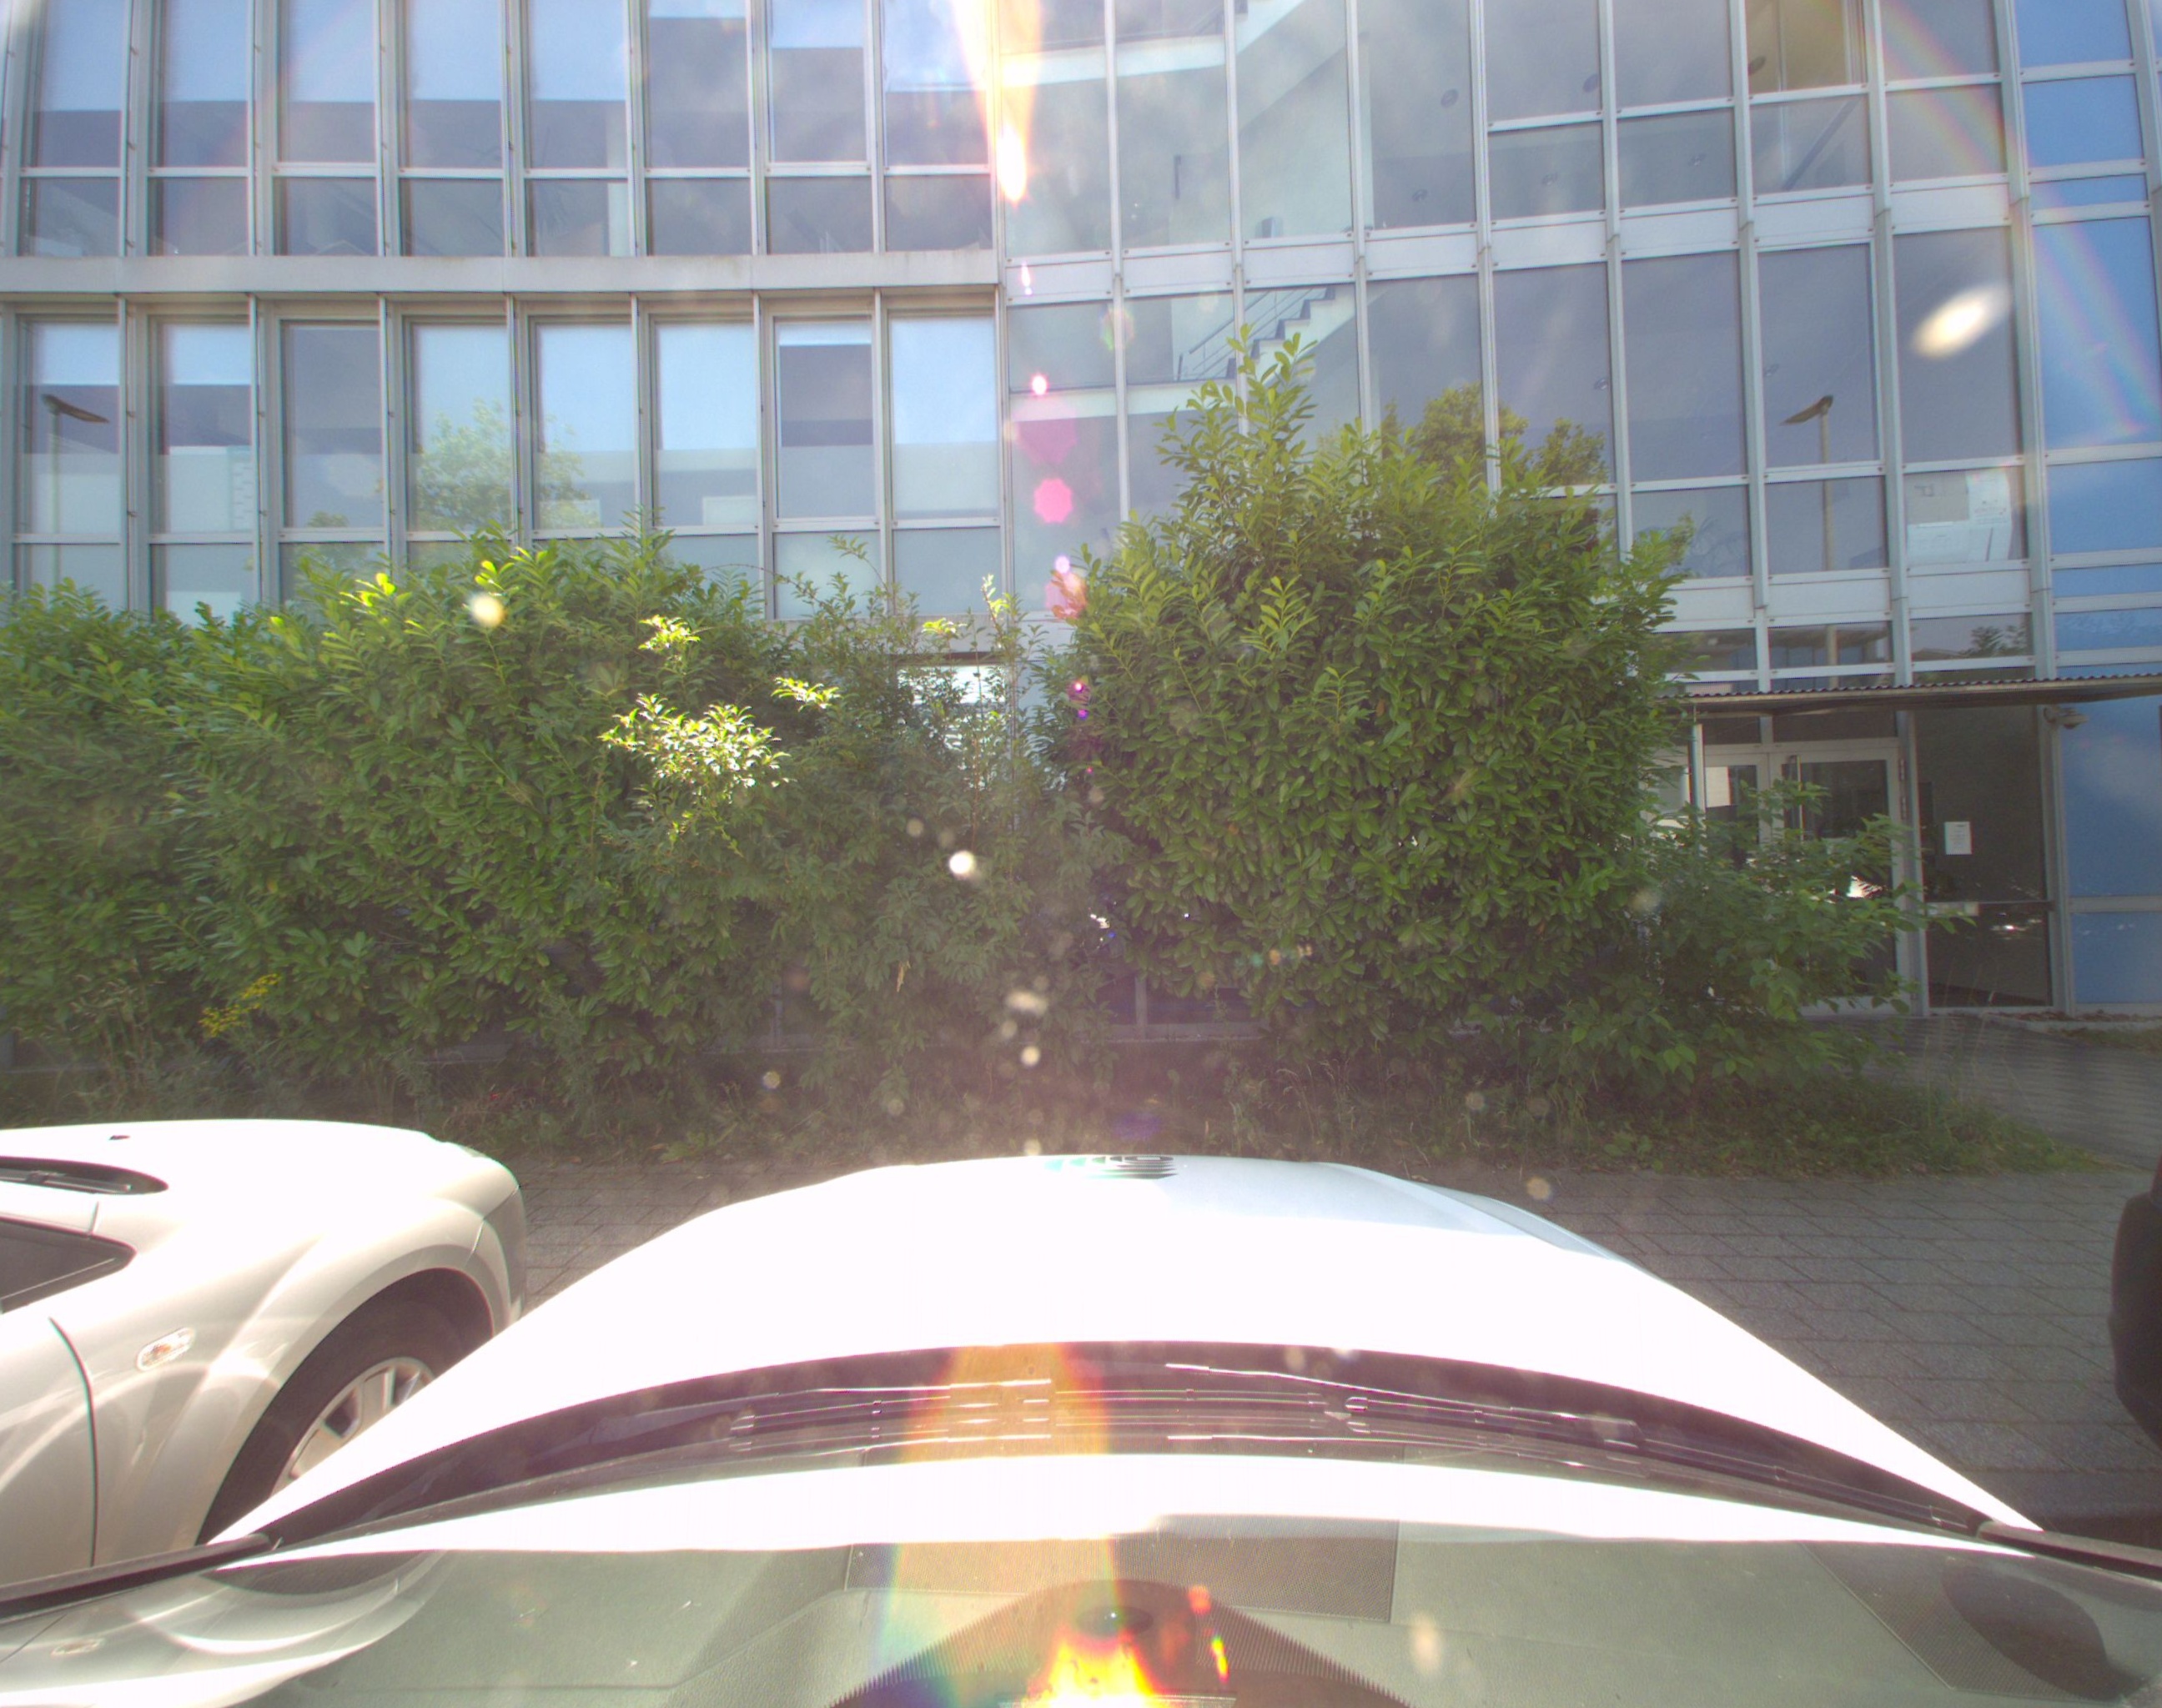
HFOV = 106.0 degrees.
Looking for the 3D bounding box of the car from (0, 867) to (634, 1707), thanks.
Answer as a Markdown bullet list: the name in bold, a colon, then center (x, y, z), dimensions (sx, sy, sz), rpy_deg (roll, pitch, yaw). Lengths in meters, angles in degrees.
- **car**: center (-2.167, 0.780, 0.125), dimensions (1.713, 1.479, 4.349), rpy_deg (-1, 0, 1)
